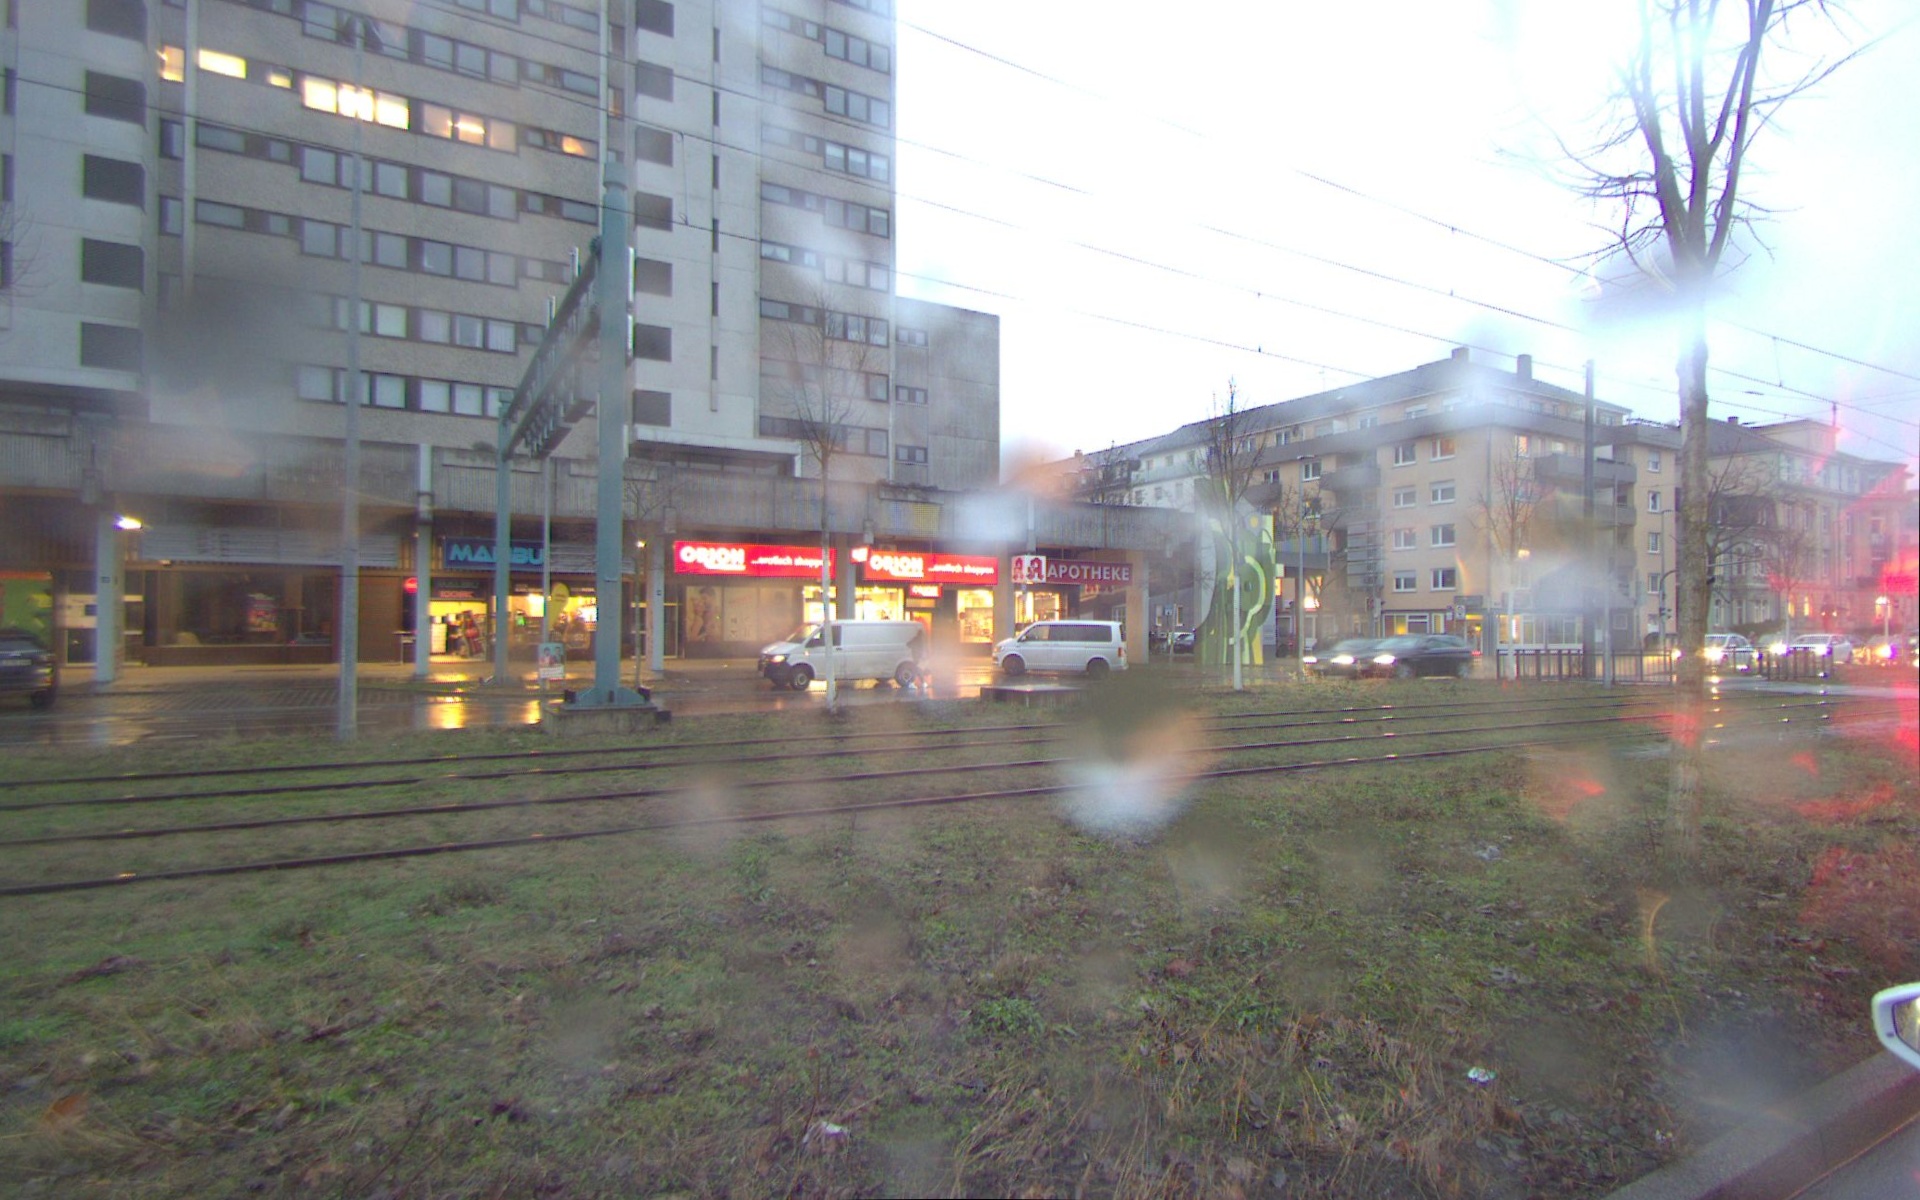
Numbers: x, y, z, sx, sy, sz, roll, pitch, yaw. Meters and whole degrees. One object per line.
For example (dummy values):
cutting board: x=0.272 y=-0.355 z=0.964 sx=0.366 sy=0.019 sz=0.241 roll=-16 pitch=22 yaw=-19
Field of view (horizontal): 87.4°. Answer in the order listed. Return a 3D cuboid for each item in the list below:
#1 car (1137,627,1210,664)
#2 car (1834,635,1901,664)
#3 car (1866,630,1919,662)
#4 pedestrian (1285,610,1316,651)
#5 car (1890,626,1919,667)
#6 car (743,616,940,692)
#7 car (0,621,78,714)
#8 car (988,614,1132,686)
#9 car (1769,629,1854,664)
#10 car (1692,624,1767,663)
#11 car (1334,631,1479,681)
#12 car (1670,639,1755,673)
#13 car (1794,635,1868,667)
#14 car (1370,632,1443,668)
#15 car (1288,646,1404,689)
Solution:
car: x=12.380 y=2.624 z=58.172 sx=3.830 sy=2.040 sz=1.884 roll=2 pitch=0 yaw=-31
car: x=56.189 y=3.058 z=62.169 sx=3.952 sy=1.623 sz=1.941 roll=2 pitch=0 yaw=-30
car: x=52.088 y=2.509 z=55.438 sx=3.952 sy=1.623 sz=1.941 roll=2 pitch=0 yaw=-30
pedestrian: x=17.046 y=1.515 z=50.298 sx=1.253 sy=2.040 sz=1.004 roll=-1 pitch=-1 yaw=37
car: x=40.758 y=1.956 z=41.815 sx=3.954 sy=1.623 sz=1.983 roll=2 pitch=0 yaw=-31
car: x=-3.513 y=1.578 z=29.974 sx=5.490 sy=2.073 sz=1.987 roll=2 pitch=0 yaw=-26
car: x=-20.783 y=1.363 z=21.184 sx=4.067 sy=1.715 sz=1.982 roll=2 pitch=0 yaw=28
car: x=3.565 y=1.703 z=35.465 sx=4.734 sy=2.274 sz=2.001 roll=2 pitch=0 yaw=15
car: x=40.024 y=2.159 z=47.184 sx=3.953 sy=1.598 sz=1.858 roll=1 pitch=-1 yaw=-30
car: x=43.146 y=2.411 z=56.294 sx=3.953 sy=2.040 sz=1.984 roll=2 pitch=0 yaw=-31
car: x=13.472 y=1.660 z=30.237 sx=4.265 sy=1.350 sz=1.850 roll=2 pitch=0 yaw=-30
car: x=30.875 y=2.257 z=41.194 sx=4.108 sy=1.294 sz=1.679 roll=2 pitch=-2 yaw=-36
car: x=48.771 y=2.848 z=56.245 sx=3.952 sy=1.623 sz=1.941 roll=2 pitch=0 yaw=-30
car: x=27.823 y=3.087 z=62.653 sx=1.825 sy=1.968 sz=3.720 roll=1 pitch=0 yaw=-37
car: x=13.447 y=2.292 z=34.919 sx=3.958 sy=1.350 sz=1.848 roll=1 pitch=-1 yaw=-34
